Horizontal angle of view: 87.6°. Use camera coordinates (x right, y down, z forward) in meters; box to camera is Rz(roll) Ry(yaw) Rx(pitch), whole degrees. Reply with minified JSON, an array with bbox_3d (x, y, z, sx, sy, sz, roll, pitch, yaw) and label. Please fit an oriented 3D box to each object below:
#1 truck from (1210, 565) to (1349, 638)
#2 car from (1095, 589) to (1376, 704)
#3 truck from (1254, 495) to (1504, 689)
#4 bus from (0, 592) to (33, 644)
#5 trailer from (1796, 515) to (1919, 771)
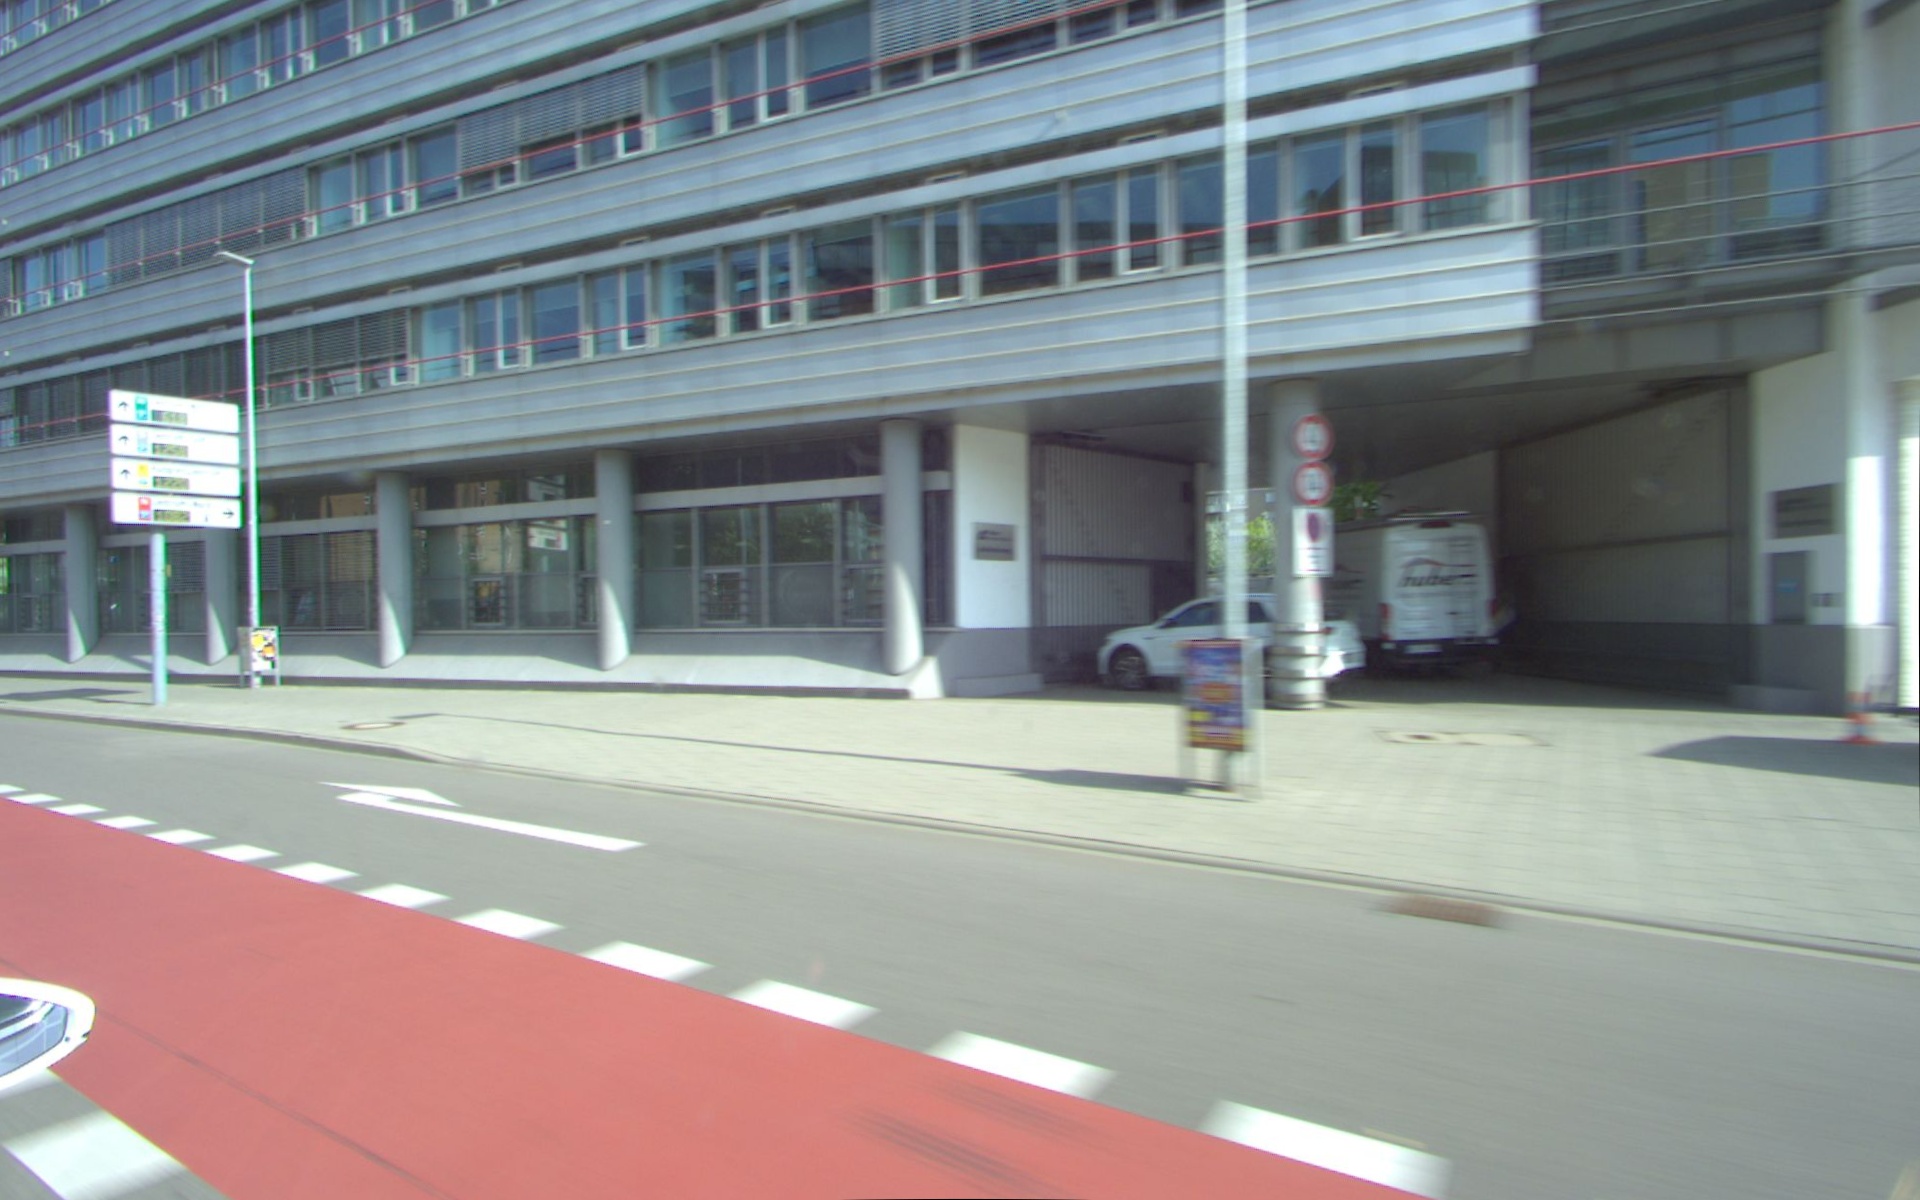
[{"bbox_3d":[8.961,0.070,28.215,1.735,1.924,3.319,0,0,-43],"label":"truck"},{"bbox_3d":[4.287,0.643,15.912,3.953,1.610,1.736,0,0,41],"label":"car"},{"bbox_3d":[7.853,-0.263,19.637,1.961,3.140,6.146,-2,3,-4],"label":"truck"},{"bbox_3d":[-76.904,1.348,70.057,2.823,3.859,17.589,-2,-1,29],"label":"bus"},{"bbox_3d":[10.280,0.338,7.391,2.364,2.179,5.913,0,0,-33],"label":"trailer"}]
